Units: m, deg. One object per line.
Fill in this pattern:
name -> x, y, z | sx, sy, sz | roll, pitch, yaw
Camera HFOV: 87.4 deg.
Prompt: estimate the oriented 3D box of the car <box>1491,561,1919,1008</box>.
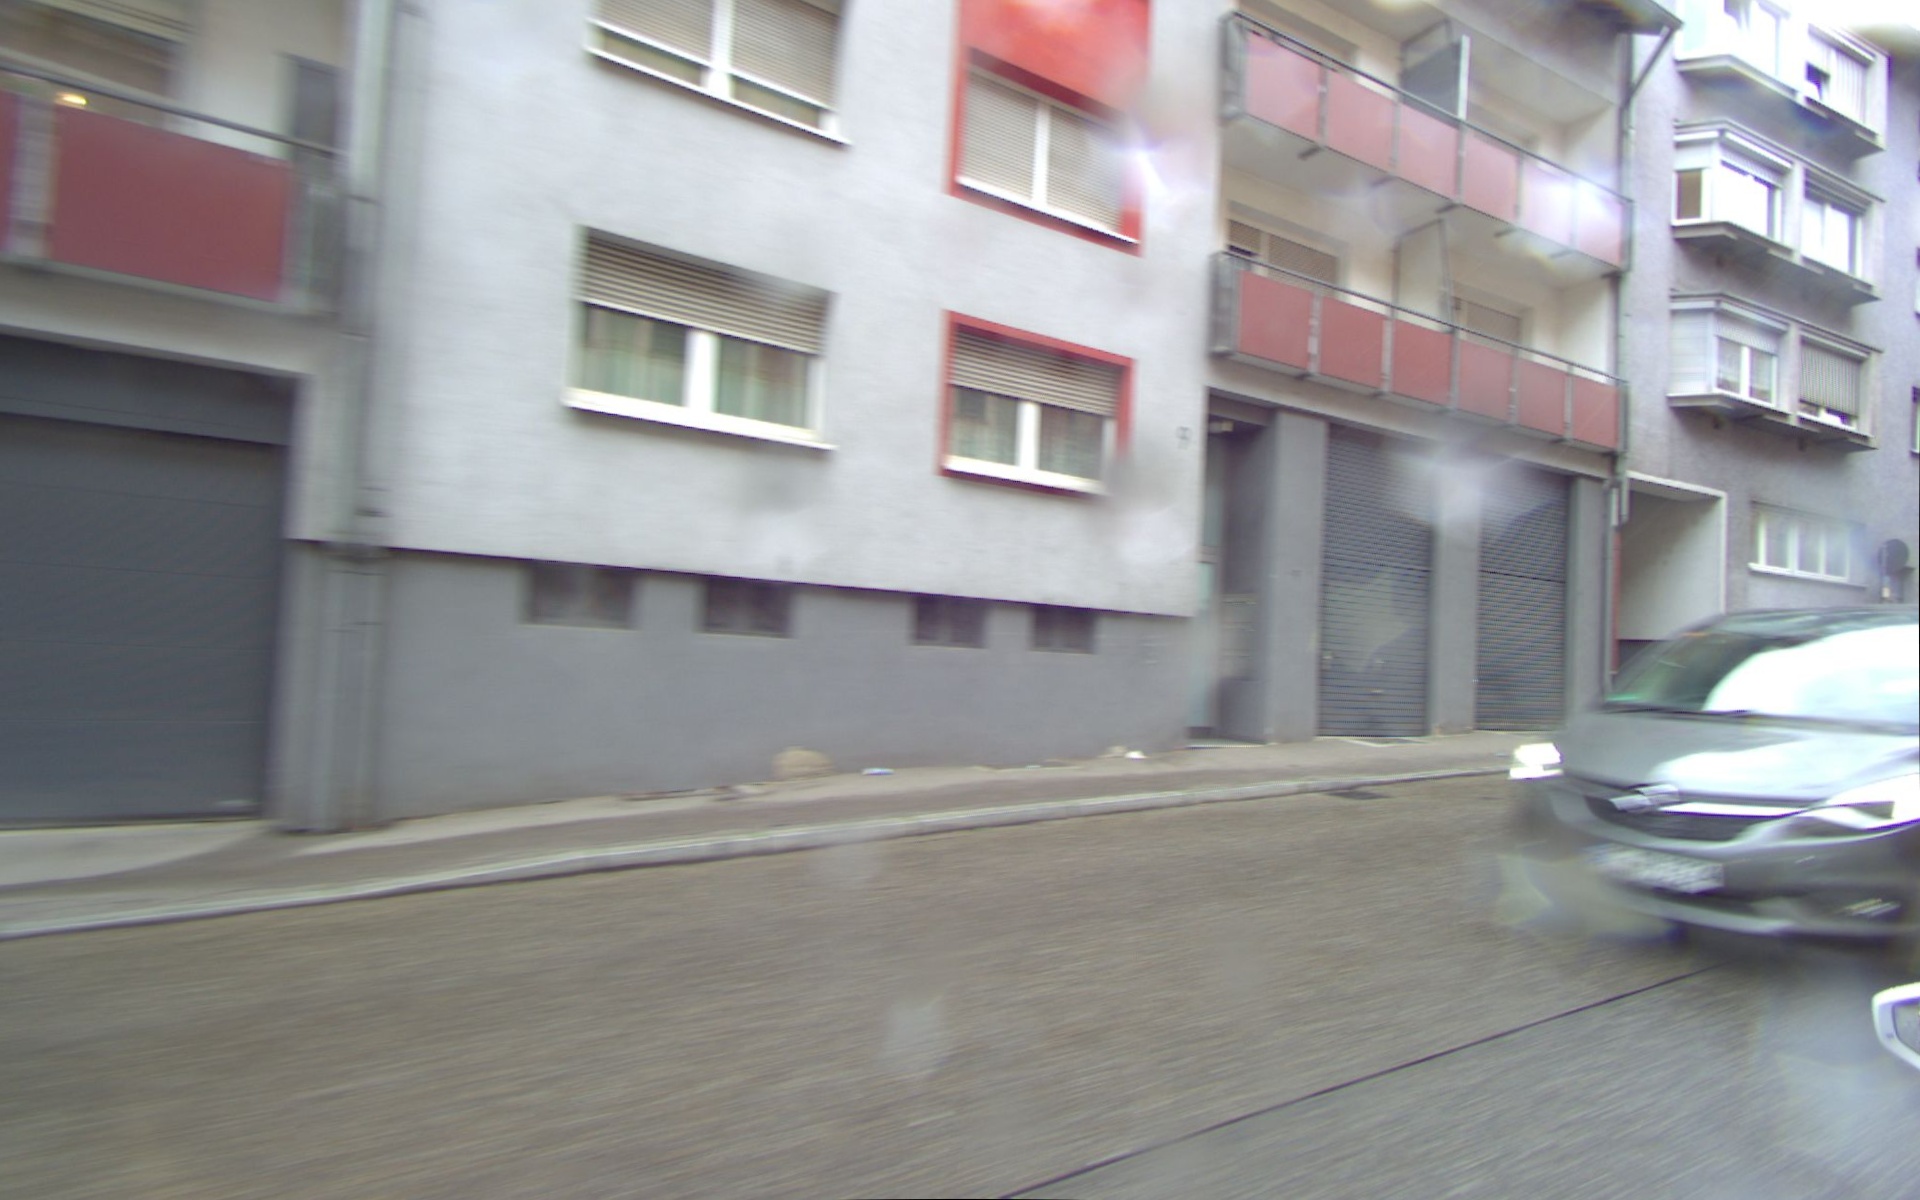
car -> 4.917, 0.768, 5.497 | 3.941, 1.679, 1.756 | 2, -2, -30
